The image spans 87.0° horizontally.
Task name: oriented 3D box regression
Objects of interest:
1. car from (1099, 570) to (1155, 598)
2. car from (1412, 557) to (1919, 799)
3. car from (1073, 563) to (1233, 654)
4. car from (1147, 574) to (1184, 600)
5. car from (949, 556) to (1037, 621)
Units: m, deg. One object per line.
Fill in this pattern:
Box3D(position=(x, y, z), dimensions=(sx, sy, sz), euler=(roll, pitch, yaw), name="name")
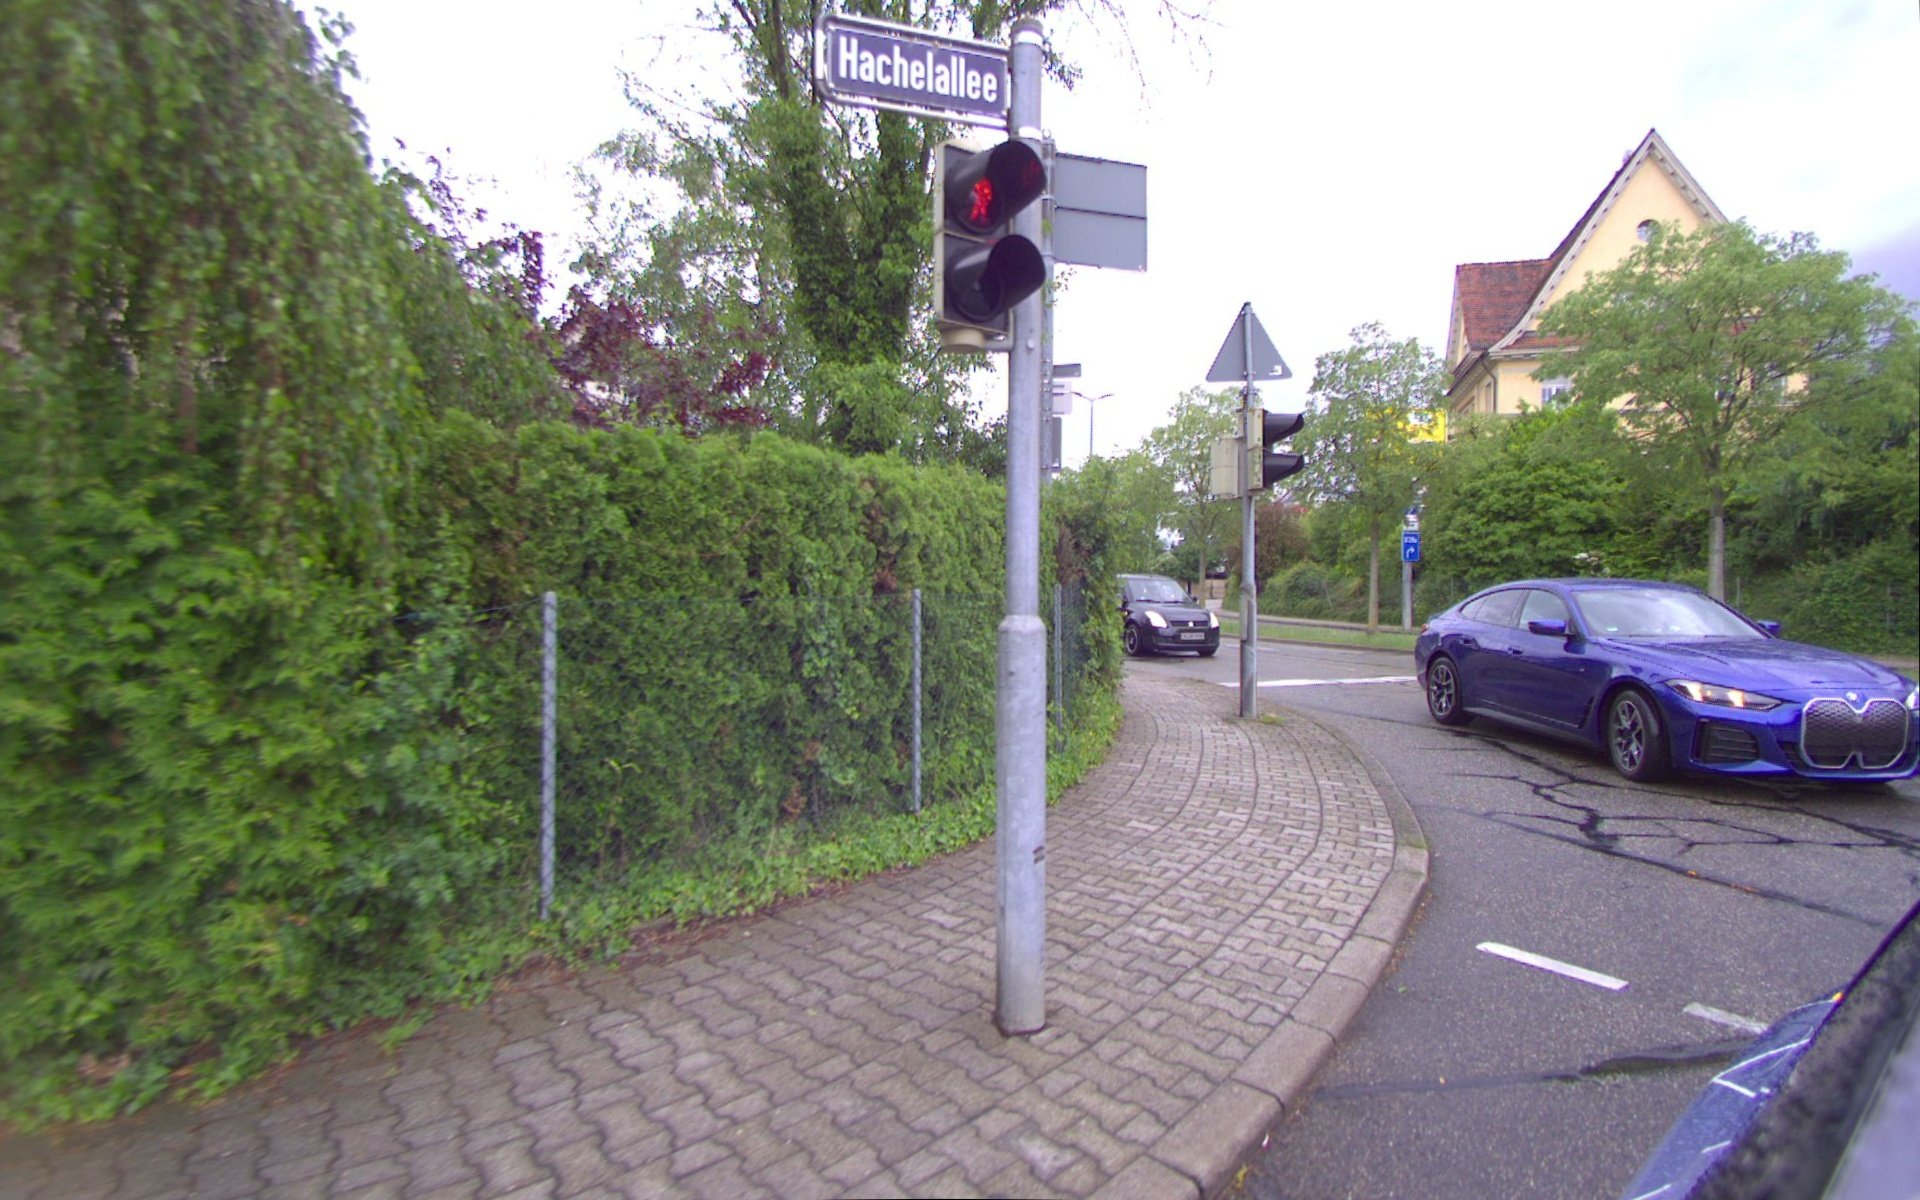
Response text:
Box3D(position=(13.230, -1.269, 80.237), dimensions=(3.919, 2.039, 2.002), euler=(-2, -1, -7), name="car")
Box3D(position=(5.754, 0.424, 8.573), dimensions=(1.878, 1.514, 4.350), euler=(-1, 2, 0), name="car")
Box3D(position=(3.630, 0.110, 19.773), dimensions=(1.711, 1.538, 4.007), euler=(-2, 1, -10), name="car")
Box3D(position=(12.485, -0.748, 61.425), dimensions=(1.970, 1.456, 4.528), euler=(-2, -1, 14), name="car")
Box3D(position=(0.896, -0.306, 30.446), dimensions=(1.929, 1.772, 4.312), euler=(-2, -1, -7), name="car")
